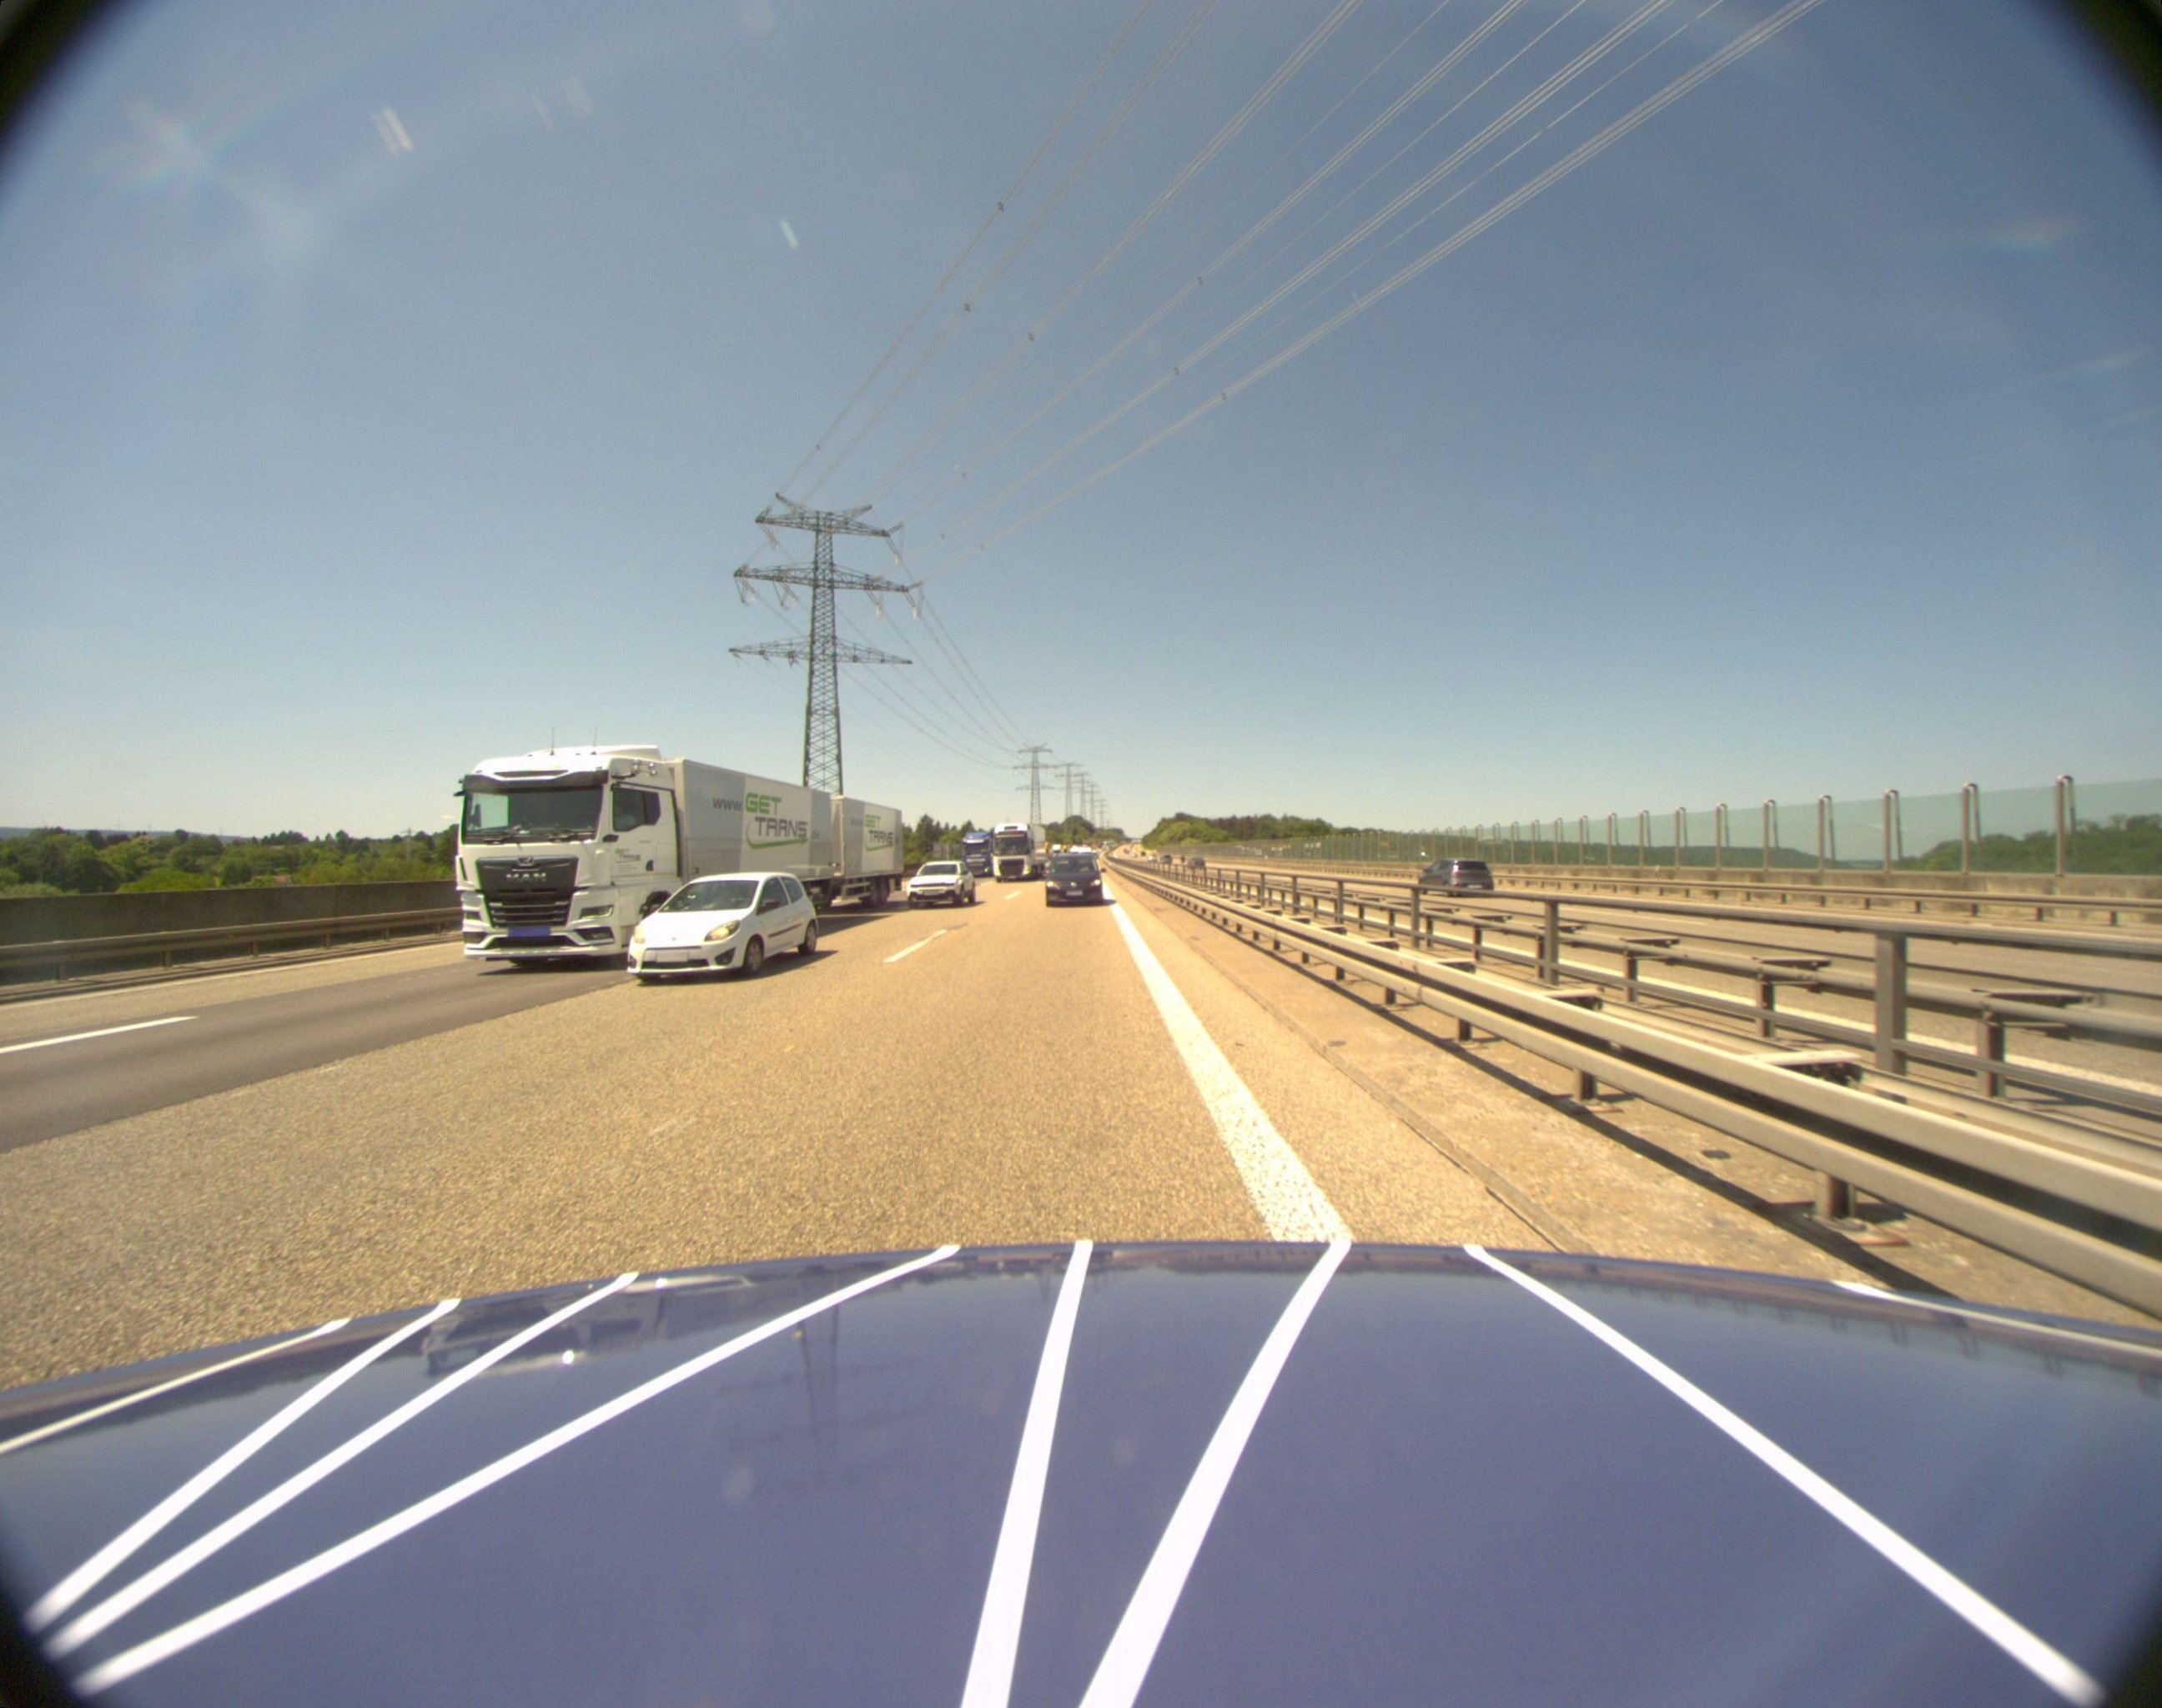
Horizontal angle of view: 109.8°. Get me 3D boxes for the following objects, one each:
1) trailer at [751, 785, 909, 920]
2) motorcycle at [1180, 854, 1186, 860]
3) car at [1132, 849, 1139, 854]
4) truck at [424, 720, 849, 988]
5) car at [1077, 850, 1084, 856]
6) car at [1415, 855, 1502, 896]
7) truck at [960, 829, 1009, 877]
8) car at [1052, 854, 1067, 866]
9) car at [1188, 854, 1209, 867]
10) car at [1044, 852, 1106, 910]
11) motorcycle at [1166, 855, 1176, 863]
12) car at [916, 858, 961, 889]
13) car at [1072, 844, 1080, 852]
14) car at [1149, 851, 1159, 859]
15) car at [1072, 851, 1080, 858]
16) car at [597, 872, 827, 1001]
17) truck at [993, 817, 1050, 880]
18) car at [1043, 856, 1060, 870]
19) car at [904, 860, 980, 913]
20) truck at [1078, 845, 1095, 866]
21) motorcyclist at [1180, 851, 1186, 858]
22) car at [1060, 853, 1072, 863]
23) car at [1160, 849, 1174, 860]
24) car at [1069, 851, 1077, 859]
[{"bbox_3d":[-8.394,-0.050,26.651,2.752,3.918,7.773,-3,0,0],"label":"trailer"},{"bbox_3d":[18.578,0.561,138.487,0.792,1.065,2.649,0,1,0],"label":"motorcycle"},{"bbox_3d":[17.513,-0.767,244.648,1.820,1.645,3.999,-3,1,0],"label":"car"},{"bbox_3d":[-8.427,-0.023,17.108,2.695,3.907,11.296,-3,0,0],"label":"truck"},{"bbox_3d":[-0.123,-0.240,195.635,1.821,1.569,3.999,-2,1,0],"label":"car"},{"bbox_3d":[14.648,0.797,29.650,1.656,1.454,3.541,0,1,1],"label":"car"},{"bbox_3d":[-8.592,-0.142,69.123,2.841,3.858,11.272,-3,1,0],"label":"truck"},{"bbox_3d":[-3.029,0.795,107.252,1.821,1.569,3.999,-2,1,0],"label":"car"},{"bbox_3d":[13.460,0.746,87.284,1.765,1.312,4.270,1,1,0],"label":"car"},{"bbox_3d":[-0.141,0.796,24.482,1.748,1.569,3.999,-3,1,1],"label":"car"},{"bbox_3d":[19.741,1.069,166.700,1.490,1.468,3.382,-3,1,-1],"label":"motorcycle"},{"bbox_3d":[-8.237,1.110,44.205,1.821,1.569,3.999,-2,1,0],"label":"car"},{"bbox_3d":[-1.414,-1.690,217.153,1.998,2.002,3.999,-3,1,0],"label":"car"},{"bbox_3d":[15.201,0.121,157.935,1.735,1.481,4.124,-3,1,0],"label":"car"},{"bbox_3d":[-1.092,0.034,179.498,1.821,1.569,3.999,-2,1,0],"label":"car"},{"bbox_3d":[-5.451,1.126,11.829,1.660,1.501,3.825,-3,0,-1],"label":"car"},{"bbox_3d":[-4.214,-0.359,56.957,2.718,4.015,14.255,-3,0,1],"label":"truck"},{"bbox_3d":[-3.537,1.046,91.199,1.821,1.569,3.999,-2,1,0],"label":"car"},{"bbox_3d":[-4.670,1.050,26.022,1.776,1.521,3.851,-3,1,1],"label":"car"},{"bbox_3d":[0.829,0.160,110.621,2.310,2.789,5.109,-3,1,1],"label":"truck"},{"bbox_3d":[18.553,0.136,138.086,0.921,1.276,1.286,-3,1,0],"label":"motorcyclist"},{"bbox_3d":[-2.502,0.626,129.017,1.821,1.569,3.999,-2,1,0],"label":"car"},{"bbox_3d":[14.296,0.044,126.130,1.786,1.692,4.154,0,1,0],"label":"car"},{"bbox_3d":[-1.726,0.264,165.287,1.821,1.569,3.999,-2,1,0],"label":"car"}]
